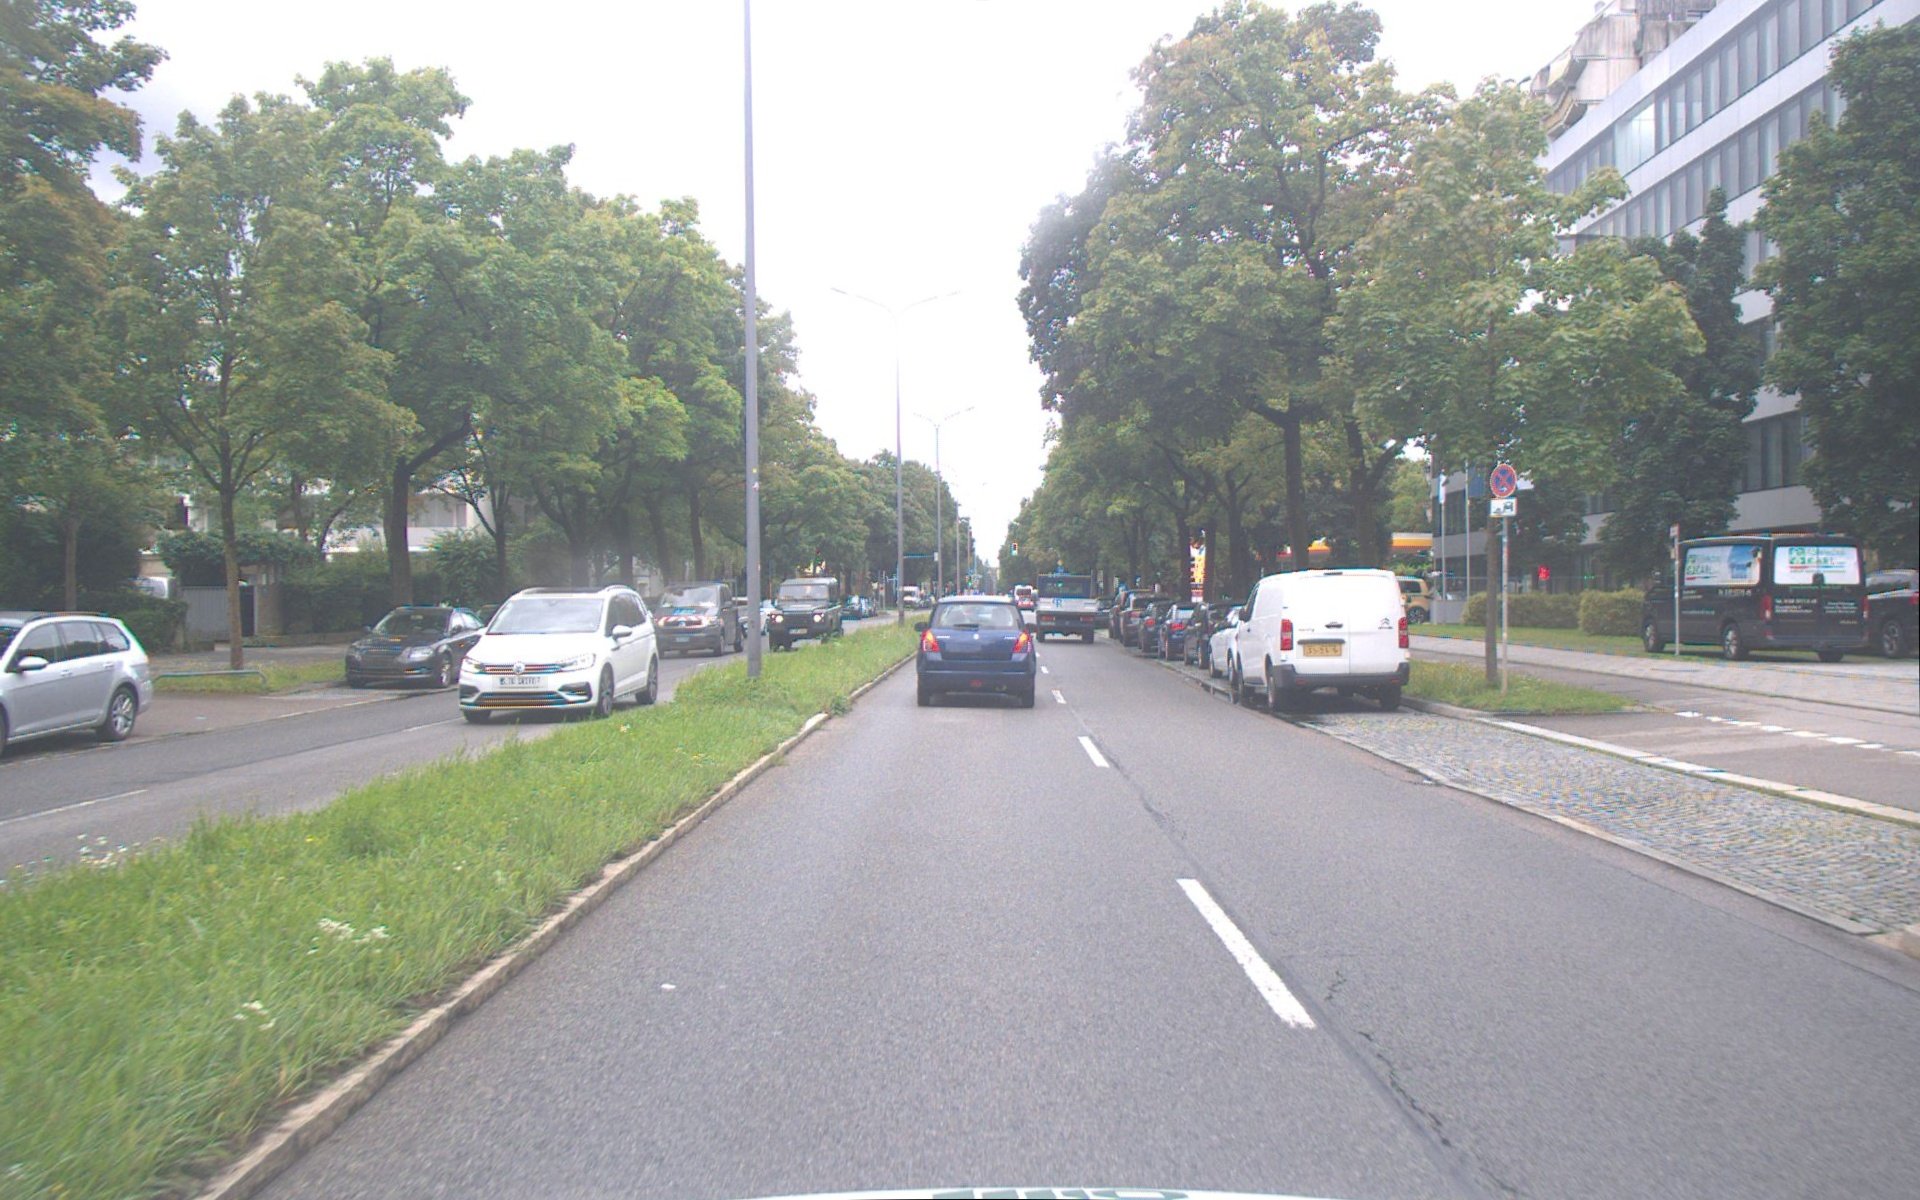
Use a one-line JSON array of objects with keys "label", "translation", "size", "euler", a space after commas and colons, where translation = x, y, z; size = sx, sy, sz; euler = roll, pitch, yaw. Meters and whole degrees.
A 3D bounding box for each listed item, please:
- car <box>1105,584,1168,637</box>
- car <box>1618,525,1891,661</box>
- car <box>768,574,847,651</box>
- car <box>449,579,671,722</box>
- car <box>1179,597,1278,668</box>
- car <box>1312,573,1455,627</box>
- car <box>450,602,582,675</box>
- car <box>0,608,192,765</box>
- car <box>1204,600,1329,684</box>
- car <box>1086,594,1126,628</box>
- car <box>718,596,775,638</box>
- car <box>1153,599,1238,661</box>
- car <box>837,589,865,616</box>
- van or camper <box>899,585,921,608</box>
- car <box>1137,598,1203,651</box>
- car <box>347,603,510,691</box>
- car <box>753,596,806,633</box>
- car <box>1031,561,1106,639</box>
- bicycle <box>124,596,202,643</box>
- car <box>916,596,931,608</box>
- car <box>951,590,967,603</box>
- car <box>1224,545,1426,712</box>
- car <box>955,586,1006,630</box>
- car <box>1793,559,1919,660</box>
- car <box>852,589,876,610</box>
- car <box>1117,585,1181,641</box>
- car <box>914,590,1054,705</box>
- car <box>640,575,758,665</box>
[{"label": "car", "translation": [6.369, 0.358, 60.213], "size": [1.853, 1.831, 4.862], "euler": [-1, 0, 1]}, {"label": "car", "translation": [15.148, -0.136, 32.080], "size": [2.218, 2.347, 6.267], "euler": [-1, 0, 0]}, {"label": "car", "translation": [-4.355, 0.328, 47.870], "size": [1.744, 2.065, 4.819], "euler": [-1, 0, 1]}, {"label": "car", "translation": [-5.169, 0.595, 21.971], "size": [1.796, 1.671, 4.351], "euler": [-1, 0, 1]}, {"label": "car", "translation": [5.963, 0.686, 37.087], "size": [1.666, 1.472, 3.979], "euler": [-1, 0, 2]}, {"label": "car", "translation": [17.419, -0.003, 68.232], "size": [5.357, 2.120, 2.147], "euler": [-1, 0, 0]}, {"label": "car", "translation": [-9.788, 0.809, 36.778], "size": [1.592, 1.448, 4.193], "euler": [2, 0, 2]}, {"label": "car", "translation": [-10.403, 0.876, 18.022], "size": [1.700, 1.473, 4.823], "euler": [2, 0, 1]}, {"label": "car", "translation": [5.728, 0.746, 31.325], "size": [1.666, 1.422, 4.234], "euler": [-1, 0, 2]}, {"label": "car", "translation": [6.980, 0.499, 79.451], "size": [1.742, 1.537, 4.287], "euler": [-2, 0, 3]}, {"label": "car", "translation": [-8.851, 0.690, 68.877], "size": [1.721, 1.622, 4.489], "euler": [2, 0, 0]}, {"label": "car", "translation": [5.966, 0.722, 42.286], "size": [1.666, 1.446, 4.122], "euler": [-1, 0, 2]}, {"label": "car", "translation": [-7.591, 0.169, 115.715], "size": [1.760, 1.794, 5.055], "euler": [2, 0, -2]}, {"label": "van or camper", "translation": [-5.743, -0.429, 190.589], "size": [2.096, 2.519, 6.260], "euler": [-1, 0, 2]}, {"label": "car", "translation": [6.143, 0.678, 48.778], "size": [1.666, 1.433, 4.515], "euler": [-1, 0, 4]}, {"label": "car", "translation": [-9.895, 0.826, 31.122], "size": [1.548, 1.448, 4.363], "euler": [2, 0, 1]}, {"label": "car", "translation": [-8.549, 0.683, 78.669], "size": [1.794, 1.637, 4.492], "euler": [2, 0, 2]}, {"label": "car", "translation": [3.640, -0.003, 55.938], "size": [2.368, 2.487, 5.088], "euler": [1, 0, 3]}, {"label": "bicycle", "translation": [-21.739, 0.532, 45.158], "size": [1.821, 1.248, 0.530], "euler": [-1, 0, -10]}, {"label": "car", "translation": [-4.646, 0.214, 210.698], "size": [1.602, 1.467, 3.735], "euler": [-1, 0, 2]}, {"label": "car", "translation": [-0.149, -0.447, 192.014], "size": [1.703, 1.465, 4.216], "euler": [-1, 0, 2]}, {"label": "car", "translation": [5.340, 0.371, 24.993], "size": [1.946, 2.195, 5.556], "euler": [-1, 0, 2]}, {"label": "car", "translation": [0.741, 0.269, 59.223], "size": [1.762, 1.525, 3.660], "euler": [-1, 0, 1]}, {"label": "car", "translation": [18.466, 0.144, 32.594], "size": [1.804, 1.850, 4.471], "euler": [-1, 0, 0]}, {"label": "car", "translation": [-7.373, -0.075, 127.702], "size": [1.632, 1.589, 4.298], "euler": [-1, 0, -1]}, {"label": "car", "translation": [6.122, 0.394, 54.004], "size": [1.775, 1.705, 4.802], "euler": [-1, 0, 3]}, {"label": "car", "translation": [0.278, 0.633, 23.953], "size": [1.858, 1.525, 3.659], "euler": [0, 0, -2]}, {"label": "car", "translation": [-7.095, 0.507, 45.647], "size": [2.163, 2.232, 5.800], "euler": [-2, 0, 1]}]
